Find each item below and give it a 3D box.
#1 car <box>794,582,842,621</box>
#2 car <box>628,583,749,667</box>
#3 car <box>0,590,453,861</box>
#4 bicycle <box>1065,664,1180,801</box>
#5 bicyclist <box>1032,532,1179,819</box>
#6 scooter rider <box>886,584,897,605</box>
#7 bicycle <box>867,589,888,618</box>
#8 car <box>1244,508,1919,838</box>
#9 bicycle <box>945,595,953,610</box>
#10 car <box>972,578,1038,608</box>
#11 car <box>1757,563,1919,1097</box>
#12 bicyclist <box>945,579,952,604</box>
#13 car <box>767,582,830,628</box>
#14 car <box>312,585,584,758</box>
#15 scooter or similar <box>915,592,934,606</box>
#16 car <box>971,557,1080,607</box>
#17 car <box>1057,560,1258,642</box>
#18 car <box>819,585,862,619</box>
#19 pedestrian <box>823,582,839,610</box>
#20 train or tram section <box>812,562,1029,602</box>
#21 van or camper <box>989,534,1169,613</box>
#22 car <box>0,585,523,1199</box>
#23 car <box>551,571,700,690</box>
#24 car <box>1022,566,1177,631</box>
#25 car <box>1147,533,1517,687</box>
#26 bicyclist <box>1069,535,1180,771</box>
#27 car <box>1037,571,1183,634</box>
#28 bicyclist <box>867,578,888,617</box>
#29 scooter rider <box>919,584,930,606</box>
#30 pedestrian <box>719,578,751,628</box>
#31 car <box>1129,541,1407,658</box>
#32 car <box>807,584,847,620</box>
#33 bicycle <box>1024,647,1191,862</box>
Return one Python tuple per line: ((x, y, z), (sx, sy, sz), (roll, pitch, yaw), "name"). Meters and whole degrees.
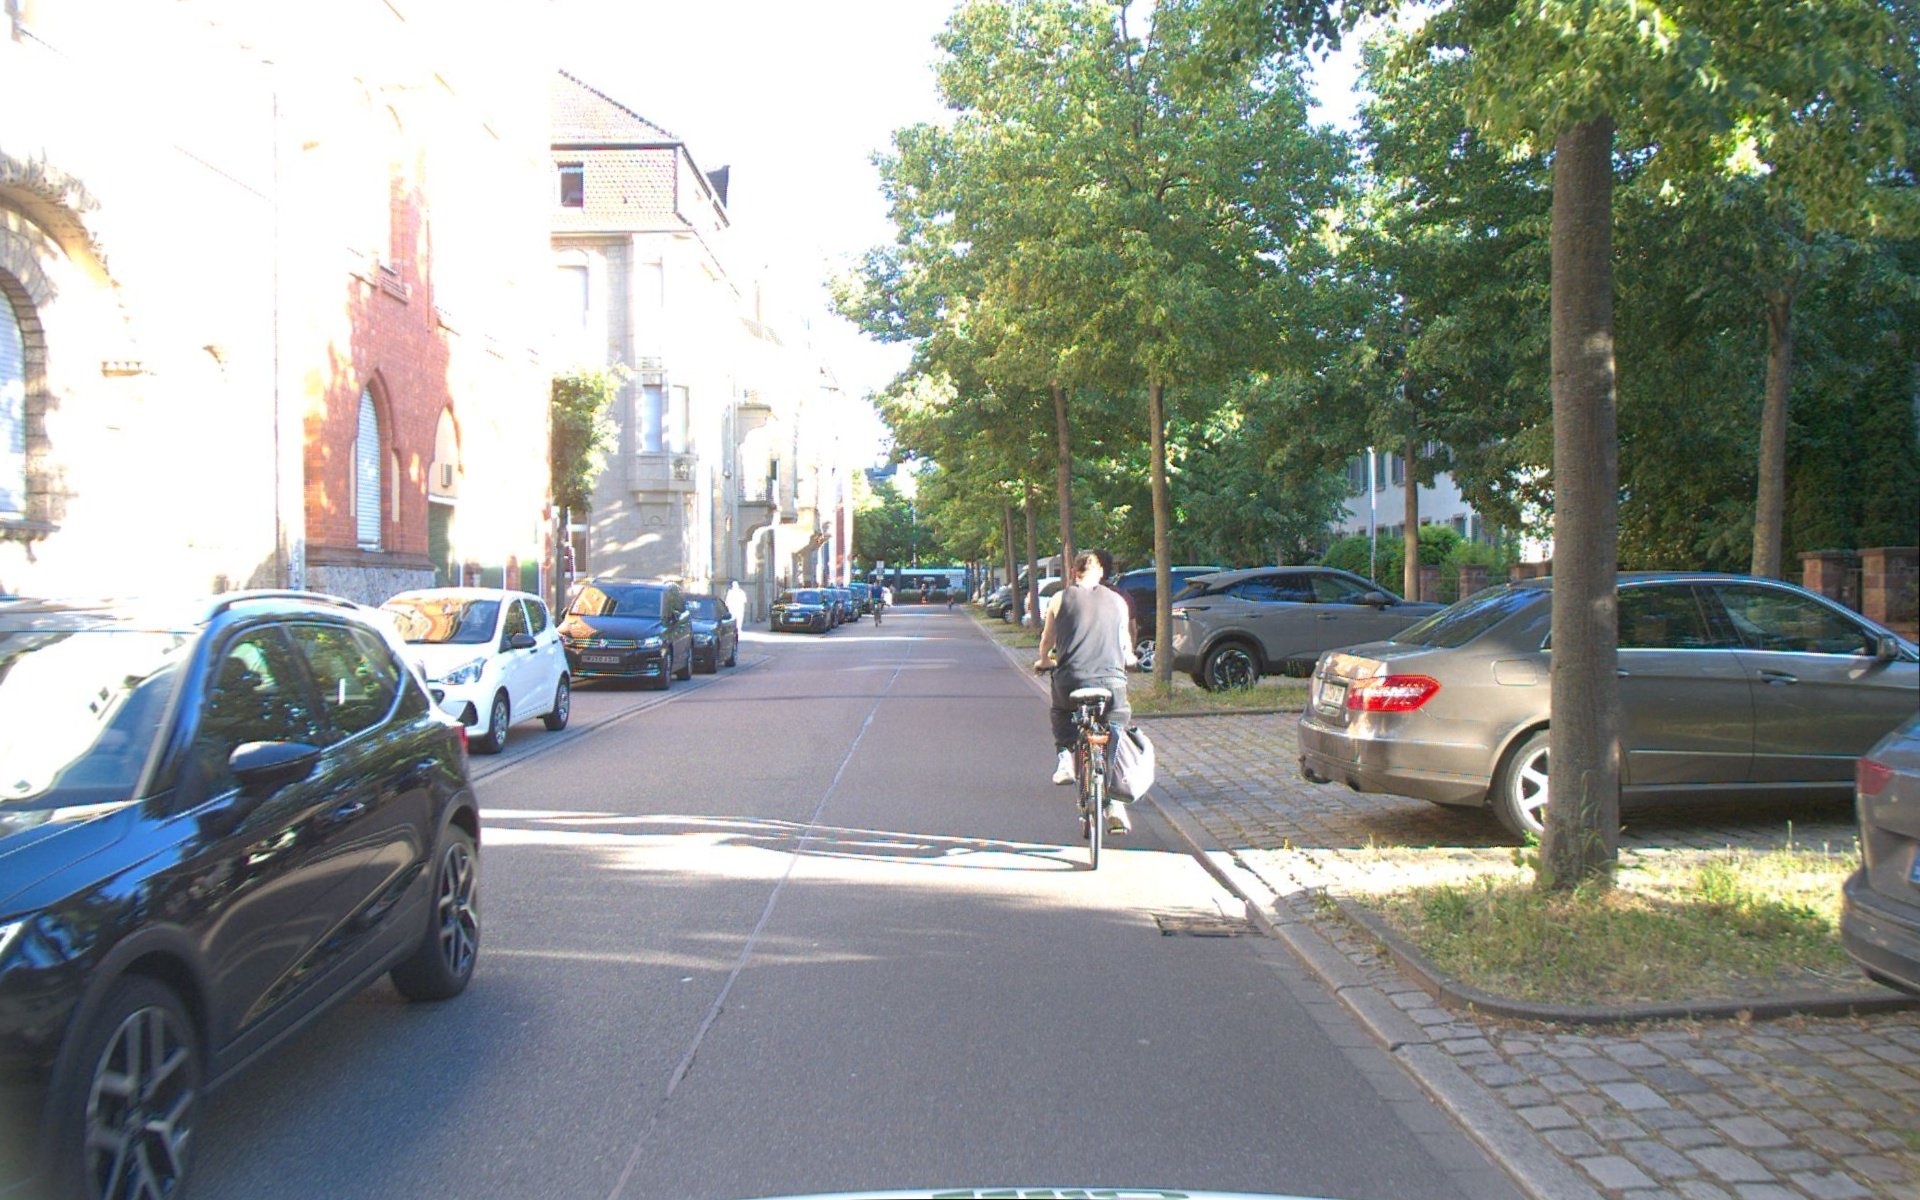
((-5.471, 0.058, 64.054), (1.662, 1.479, 4.026), (0, 0, -2), "car")
((-5.148, 0.448, 31.831), (1.602, 1.435, 4.332), (2, 0, -1), "car")
((-4.889, 0.698, 11.380), (1.643, 1.468, 4.110), (1, 1, -2), "car")
((1.151, 0.926, 12.038), (0.620, 0.813, 1.832), (-1, 1, -1), "bicycle")
((0.827, 0.421, 9.606), (0.715, 1.575, 0.884), (2, -1, -2), "bicyclist")
((-6.103, -0.489, 147.451), (0.854, 1.873, 0.670), (1, -1, -6), "scooter rider")
((-3.232, 0.139, 64.928), (0.742, 1.127, 1.907), (-1, 0, -1), "bicycle")
((4.302, 0.336, 9.965), (4.741, 1.566, 1.893), (-4, 0, -3), "car")
((-0.774, 0.175, 116.618), (0.488, 1.023, 1.473), (0, -1, -1), "bicycle")
((2.807, -0.446, 104.327), (4.002, 1.678, 1.640), (-3, 0, -3), "car")
((4.809, 0.509, 4.466), (4.385, 1.460, 1.828), (-4, 0, -1), "car")
((-0.786, -0.618, 116.645), (0.476, 1.774, 0.655), (1, -1, -1), "bicyclist")
((-5.616, 0.164, 57.900), (1.774, 1.451, 4.897), (2, 0, -1), "car")
((-4.970, 0.621, 16.518), (1.534, 1.496, 3.592), (1, 1, 1), "car")
((-3.100, -0.104, 143.872), (1.568, 1.167, 0.677), (1, 0, -6), "scooter or similar")
((4.392, -1.213, 111.633), (7.005, 3.030, 2.463), (-2, 0, -4), "car")
((4.730, 0.012, 39.895), (4.453, 1.662, 1.810), (-4, 0, -7), "car")
((-5.524, 0.089, 77.077), (1.641, 1.455, 4.550), (2, 1, 0), "car")
((-8.259, -0.255, 106.161), (0.919, 1.773, 0.735), (1, -1, 1), "pedestrian")
((-4.070, -1.883, 177.277), (23.484, 3.773, 4.255), (1, 0, -24), "train or tram section")
((4.733, -1.075, 66.737), (7.000, 2.693, 2.465), (-4, 0, 1), "van or camper")
((-2.582, 0.736, 4.871), (1.594, 1.503, 3.759), (-2, 1, -1), "car")
((-5.187, 0.444, 26.128), (1.636, 1.710, 4.348), (1, 0, -3), "car")
((4.183, -0.049, 50.166), (4.525, 1.739, 1.833), (-2, 0, 0), "car")
((4.828, 0.114, 21.885), (4.386, 1.662, 1.875), (-4, 0, -2), "car")
((1.193, 0.370, 12.155), (0.675, 1.655, 0.998), (1, 0, -1), "bicyclist")
((4.289, 0.056, 47.630), (3.985, 1.502, 1.694), (-4, 1, 0), "car")
((-3.239, -0.103, 64.898), (0.744, 1.479, 0.948), (-1, 0, -1), "bicyclist")
((-3.071, -0.451, 143.880), (0.854, 1.873, 0.670), (1, -1, -6), "scooter rider")
((-7.405, 0.100, 54.419), (0.870, 1.604, 1.053), (-2, 1, -1), "pedestrian")
((5.345, -0.026, 29.139), (4.487, 1.706, 1.907), (-4, 0, 1), "car")
((-5.705, 0.082, 71.078), (1.596, 1.478, 3.835), (1, 1, -3), "car")
((0.816, 0.840, 9.684), (0.722, 1.072, 1.955), (2, 0, -2), "bicycle")
